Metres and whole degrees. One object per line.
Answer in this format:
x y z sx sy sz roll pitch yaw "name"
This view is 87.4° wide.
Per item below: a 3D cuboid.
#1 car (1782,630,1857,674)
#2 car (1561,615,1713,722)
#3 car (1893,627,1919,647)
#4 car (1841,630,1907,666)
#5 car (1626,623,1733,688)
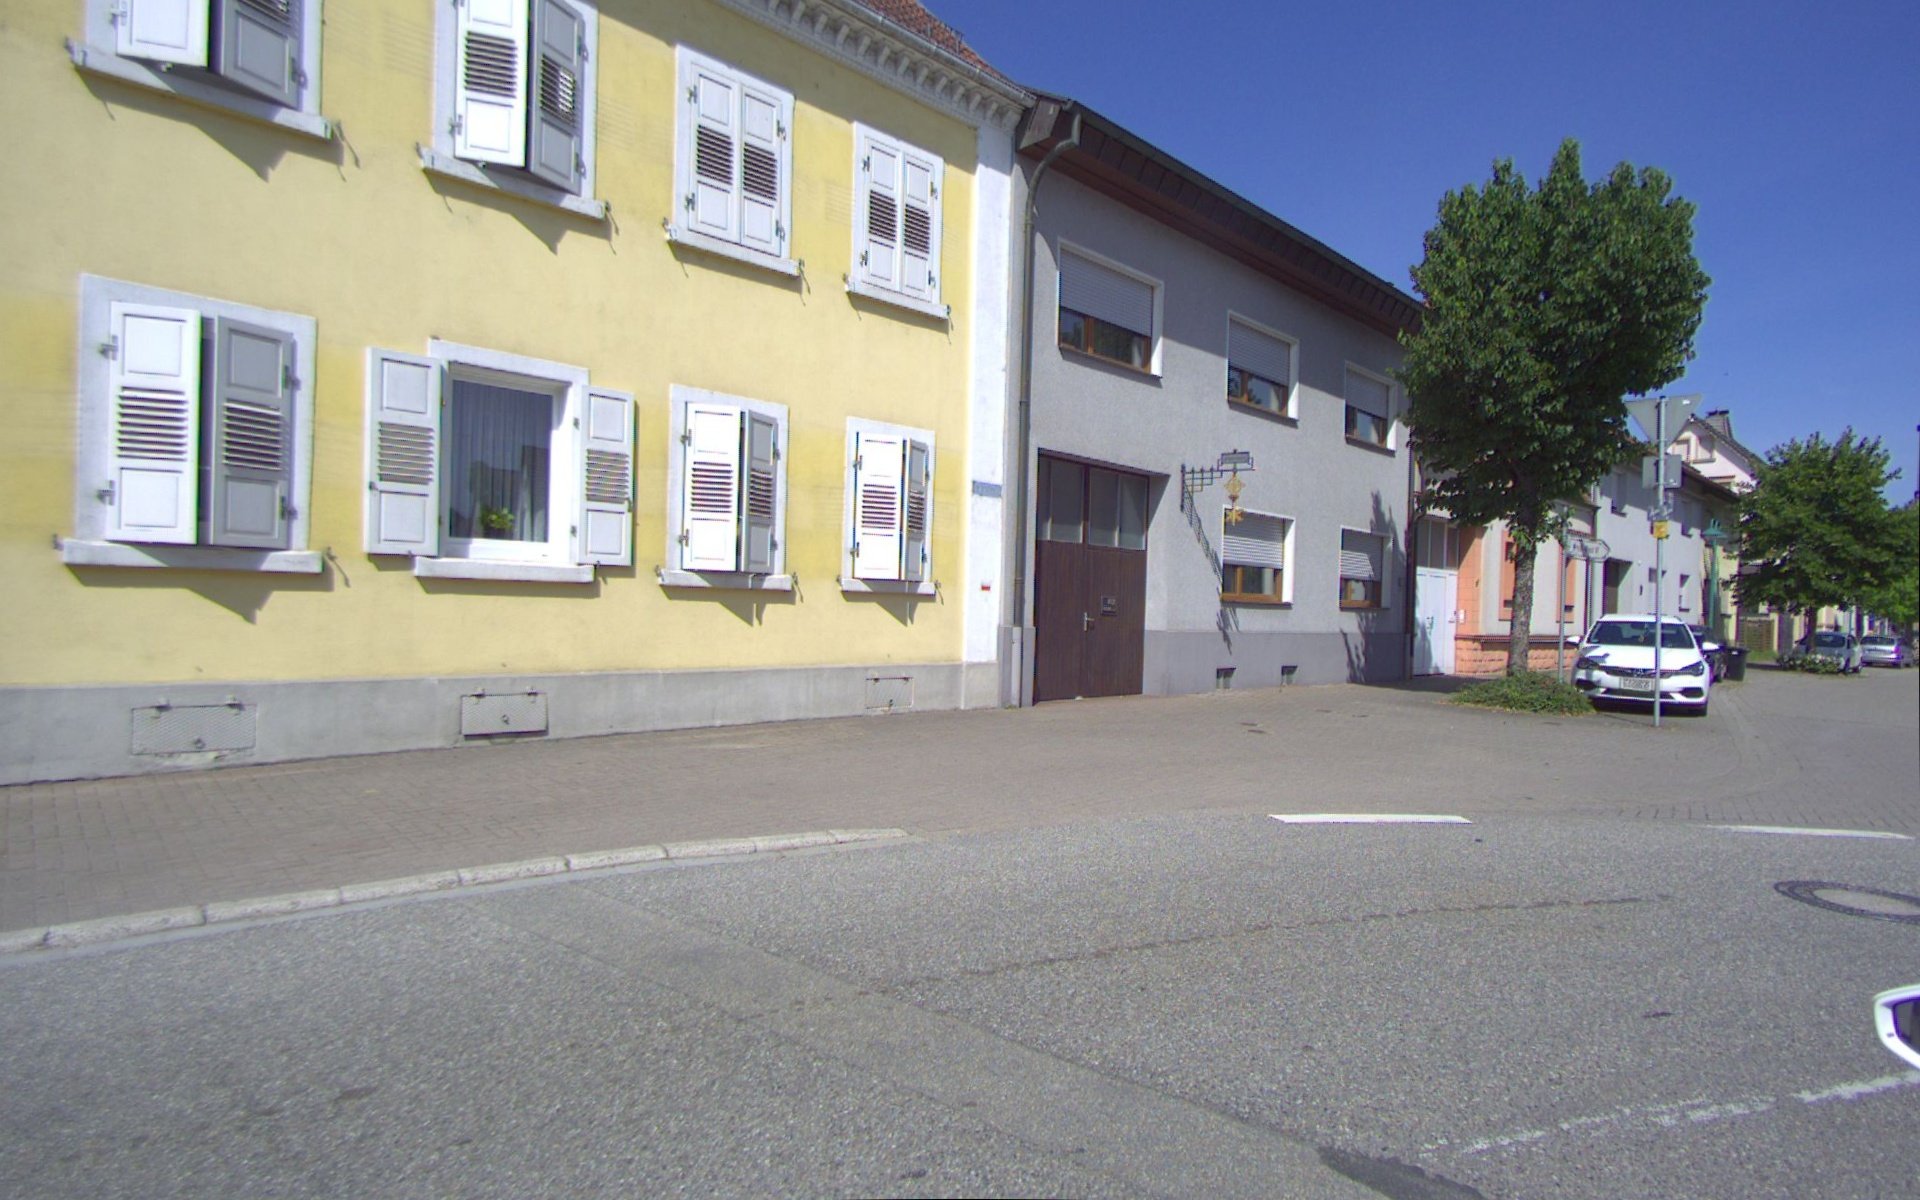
33.804 2.001 39.476 1.973 1.595 3.976 1 -1 44 "car"
11.092 1.016 16.520 1.824 1.460 4.500 1 -1 34 "car"
91.455 3.564 96.896 1.971 1.840 3.979 1 -1 42 "car"
42.362 2.192 46.626 1.969 1.483 3.983 2 0 39 "car"
18.667 1.348 25.951 1.960 1.460 5.188 1 -1 39 "car"
